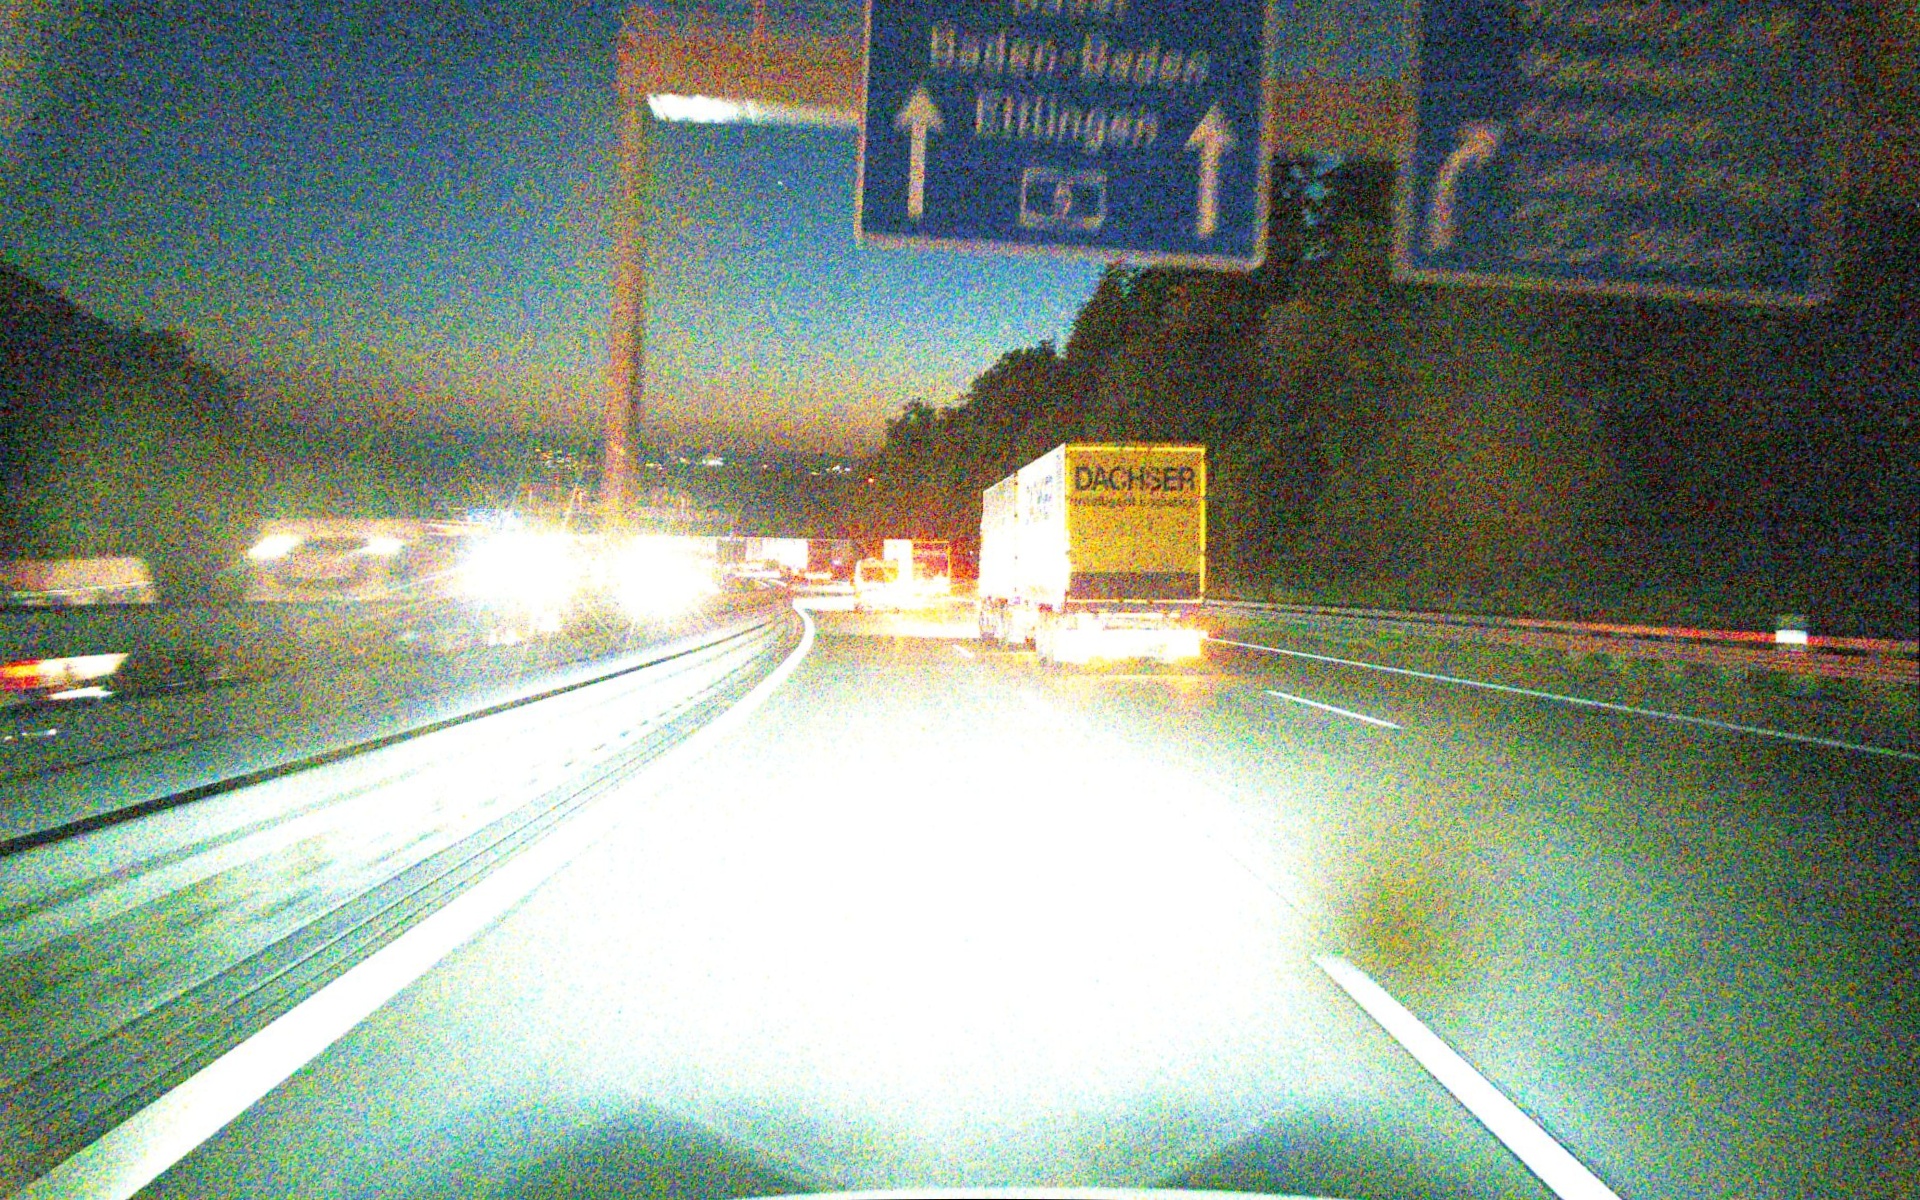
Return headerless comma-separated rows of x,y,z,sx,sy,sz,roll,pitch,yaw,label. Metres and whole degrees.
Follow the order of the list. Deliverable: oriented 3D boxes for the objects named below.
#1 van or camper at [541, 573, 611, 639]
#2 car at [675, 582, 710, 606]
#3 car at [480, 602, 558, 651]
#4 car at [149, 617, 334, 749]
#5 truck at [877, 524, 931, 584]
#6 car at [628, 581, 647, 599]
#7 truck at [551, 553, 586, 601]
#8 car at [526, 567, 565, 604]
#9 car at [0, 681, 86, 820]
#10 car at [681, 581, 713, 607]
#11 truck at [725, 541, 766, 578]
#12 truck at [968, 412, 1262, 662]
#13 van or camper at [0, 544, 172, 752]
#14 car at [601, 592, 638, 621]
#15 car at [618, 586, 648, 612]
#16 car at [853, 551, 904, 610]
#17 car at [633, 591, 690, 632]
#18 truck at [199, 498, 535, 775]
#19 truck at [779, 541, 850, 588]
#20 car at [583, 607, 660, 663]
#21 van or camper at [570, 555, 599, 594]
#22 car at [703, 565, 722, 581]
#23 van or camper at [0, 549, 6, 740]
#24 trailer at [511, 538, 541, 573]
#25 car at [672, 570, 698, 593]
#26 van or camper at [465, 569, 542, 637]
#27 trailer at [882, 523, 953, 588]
-16.373,0.183,70.805,2.213,2.640,6.676,-2,1,-7,van or camper
-16.722,-0.394,103.294,1.725,1.378,4.274,-1,1,-16,car
-14.703,0.852,55.334,1.798,1.477,4.499,-1,1,-6,car
-12.439,1.364,28.891,1.956,2.049,3.993,0,1,-8,car
-4.055,-3.334,118.217,2.810,4.147,7.493,0,2,-11,truck
-28.596,-0.899,146.640,1.611,1.566,3.991,-1,1,-10,car
-28.379,-1.656,119.987,2.335,3.316,7.697,-2,1,-13,truck
-23.677,-0.838,94.424,1.961,1.993,4.965,-2,1,-16,car
-11.721,1.784,18.784,1.569,1.467,4.135,-1,0,-3,car
-15.472,-0.345,97.207,1.722,1.378,4.624,-1,2,-10,car
-28.107,-5.377,216.093,3.289,4.553,13.854,2,1,-15,truck
2.700,-1.101,37.536,3.414,4.207,18.691,1,0,-5,truck
-16.566,0.777,30.089,2.225,3.438,5.687,-1,1,-6,van or camper
-19.286,0.373,93.846,1.575,1.505,4.069,-2,1,-6,car
-22.392,-0.076,113.358,1.958,1.689,4.442,-1,1,-11,car
-3.840,-0.897,78.196,2.290,2.686,5.245,1,0,-3,car
-11.587,0.420,64.427,1.798,1.477,4.499,-1,1,-6,car
-8.988,0.476,26.316,2.601,3.654,8.545,1,0,-3,truck
-15.827,-3.912,177.477,3.851,4.707,20.934,-1,2,-15,truck
-9.933,0.993,48.807,1.784,1.477,4.499,-1,1,-6,car
-31.492,-2.184,138.990,2.183,3.055,7.104,-1,2,-12,van or camper
-20.759,-2.247,138.521,1.393,1.278,3.120,-1,2,-13,car
-15.806,0.747,23.111,1.798,3.023,6.392,-1,1,-6,van or camper
-54.582,-5.650,207.883,2.796,4.243,13.219,-3,3,-18,trailer
-21.625,-1.462,130.112,1.652,1.593,3.986,-4,-1,-13,car
-19.821,0.092,72.063,2.400,2.809,6.476,-1,1,-8,van or camper
-3.032,-3.111,112.784,2.803,4.137,13.173,0,2,-11,trailer
